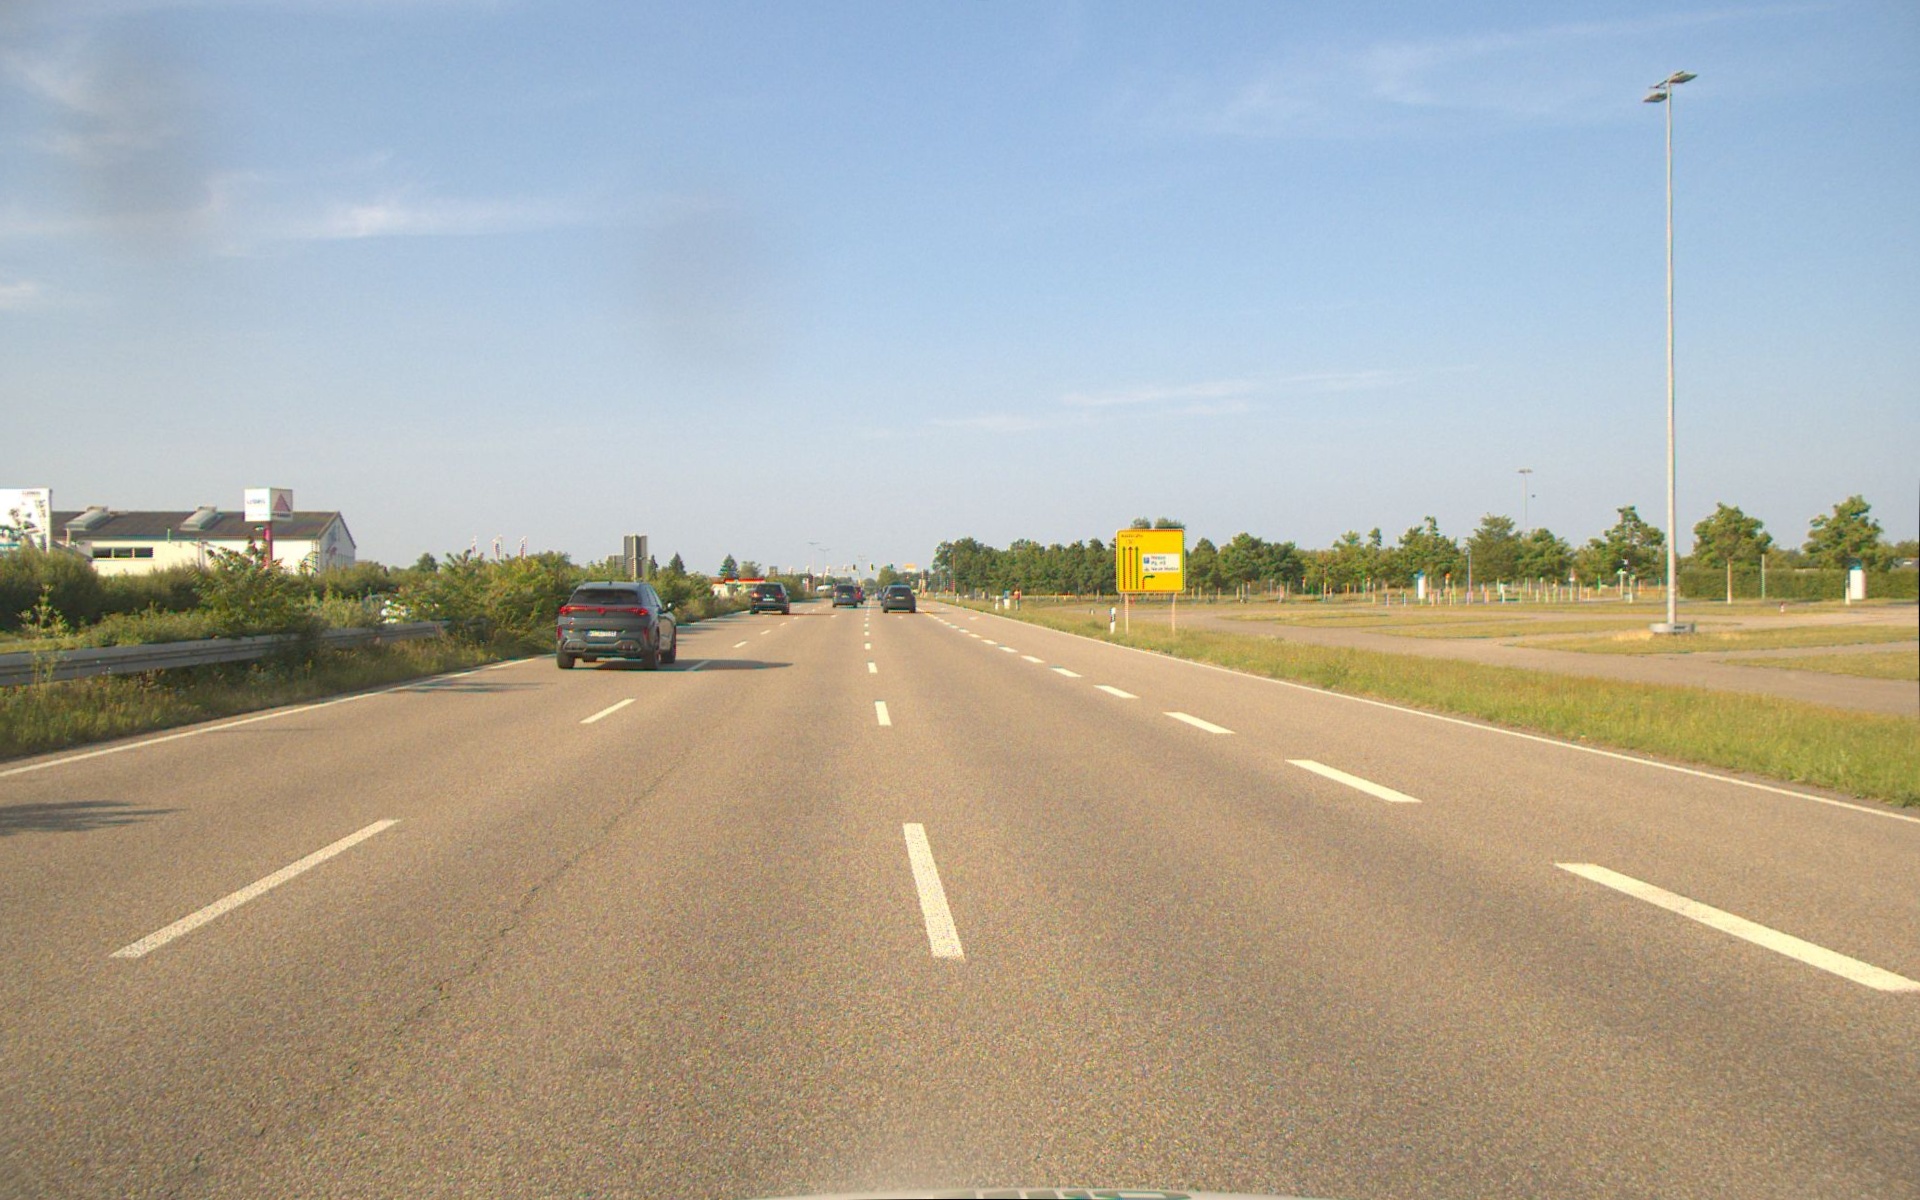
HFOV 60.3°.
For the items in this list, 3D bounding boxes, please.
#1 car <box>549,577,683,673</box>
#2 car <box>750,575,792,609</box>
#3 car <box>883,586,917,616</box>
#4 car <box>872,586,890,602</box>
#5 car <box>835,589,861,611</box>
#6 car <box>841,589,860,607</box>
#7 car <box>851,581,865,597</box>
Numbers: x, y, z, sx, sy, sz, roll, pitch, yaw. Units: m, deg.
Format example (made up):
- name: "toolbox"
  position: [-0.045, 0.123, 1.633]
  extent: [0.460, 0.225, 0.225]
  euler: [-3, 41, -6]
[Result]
- name: "car"
  position: [-6.481, 0.435, 31.555]
  extent: [1.809, 1.640, 4.398]
  euler: [2, 0, -3]
- name: "car"
  position: [-10.082, -0.435, 88.352]
  extent: [1.894, 1.709, 4.398]
  euler: [2, 0, -3]
- name: "car"
  position: [-3.645, 0.031, 99.830]
  extent: [1.894, 1.709, 4.398]
  euler: [2, 0, -3]
- name: "car"
  position: [-9.353, -0.683, 196.655]
  extent: [1.953, 1.814, 3.999]
  euler: [1, -1, -1]
- name: "car"
  position: [-8.110, -0.030, 119.884]
  extent: [1.777, 1.488, 4.398]
  euler: [2, 0, -3]
- name: "car"
  position: [-9.583, -0.152, 144.951]
  extent: [1.614, 1.488, 3.978]
  euler: [2, 0, -3]
- name: "car"
  position: [-12.133, -1.312, 196.424]
  extent: [1.613, 1.758, 3.398]
  euler: [1, -1, -4]
